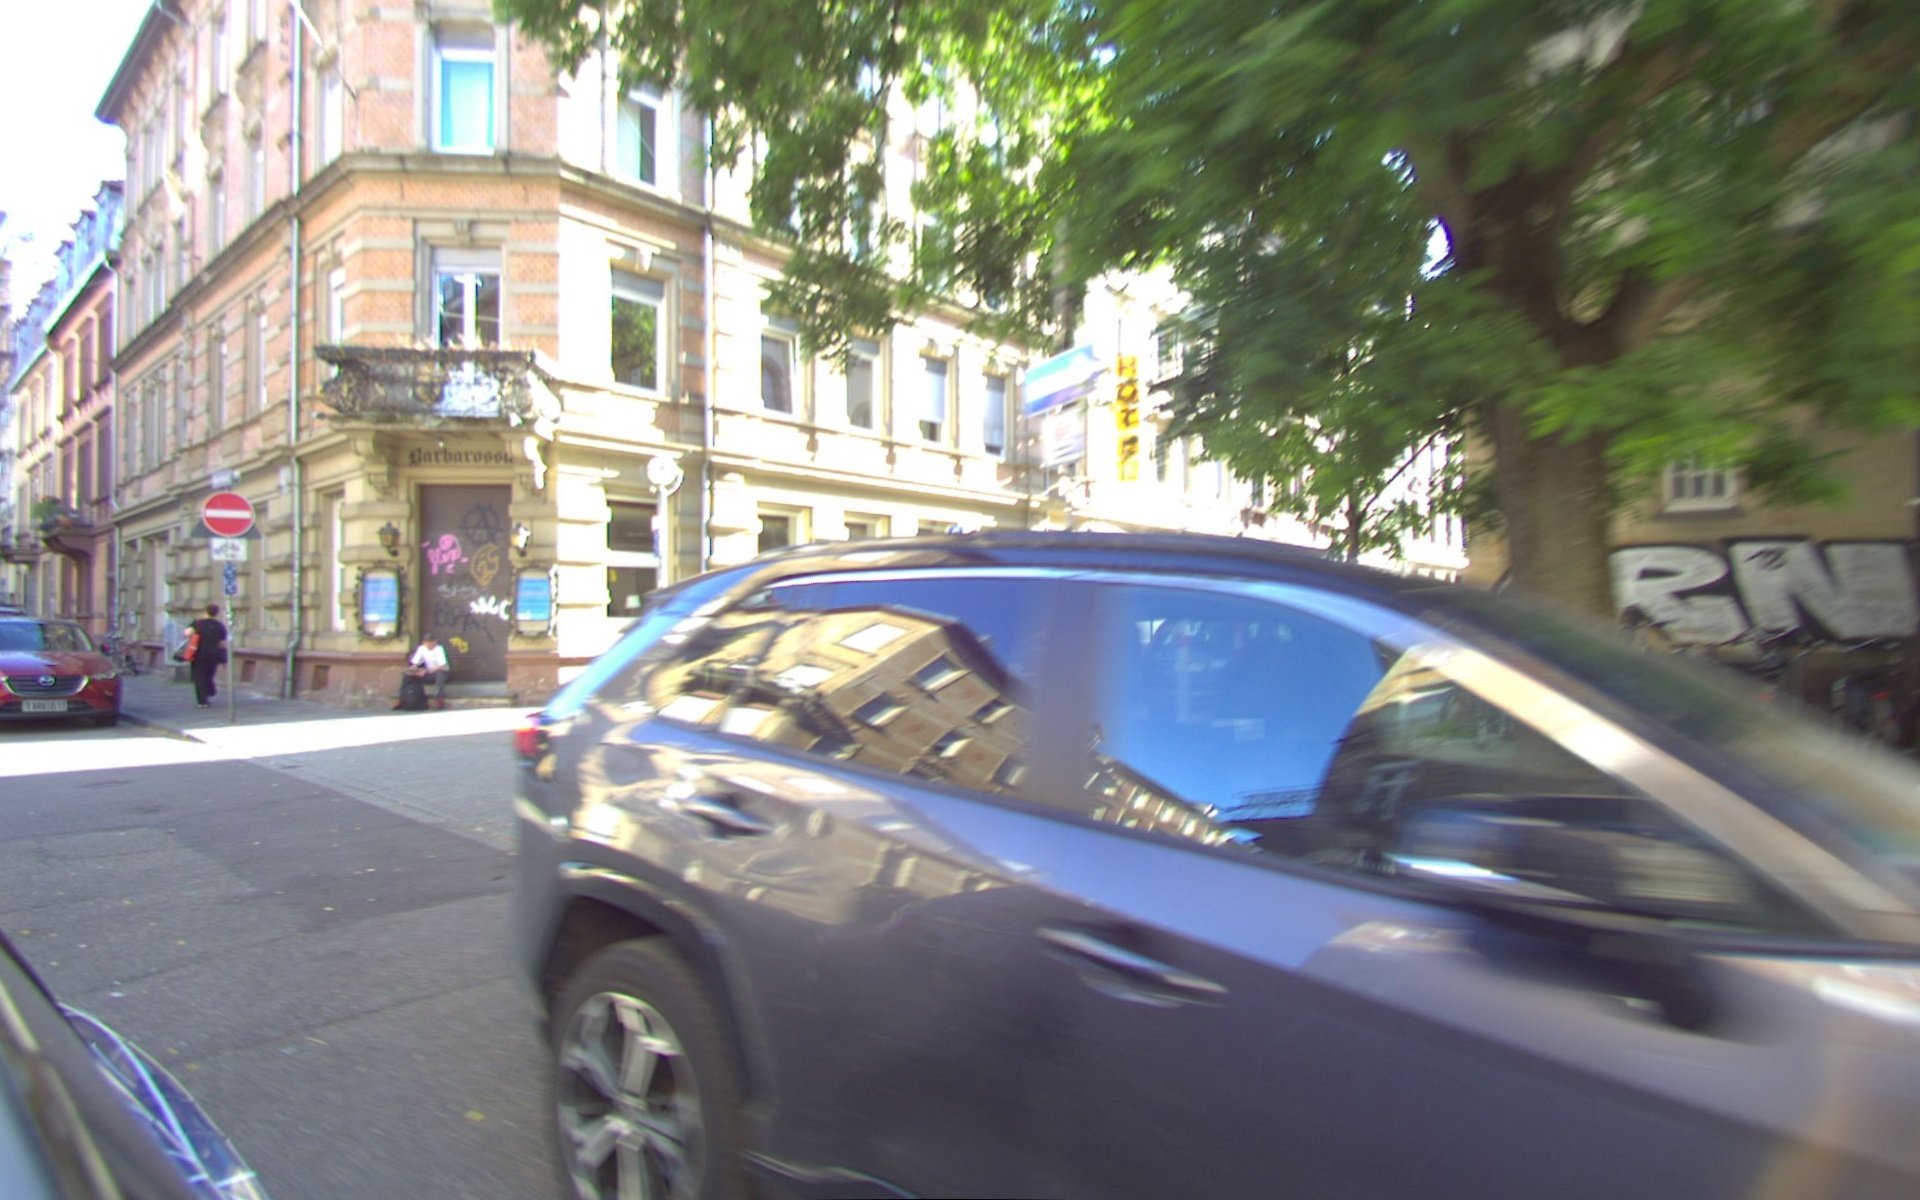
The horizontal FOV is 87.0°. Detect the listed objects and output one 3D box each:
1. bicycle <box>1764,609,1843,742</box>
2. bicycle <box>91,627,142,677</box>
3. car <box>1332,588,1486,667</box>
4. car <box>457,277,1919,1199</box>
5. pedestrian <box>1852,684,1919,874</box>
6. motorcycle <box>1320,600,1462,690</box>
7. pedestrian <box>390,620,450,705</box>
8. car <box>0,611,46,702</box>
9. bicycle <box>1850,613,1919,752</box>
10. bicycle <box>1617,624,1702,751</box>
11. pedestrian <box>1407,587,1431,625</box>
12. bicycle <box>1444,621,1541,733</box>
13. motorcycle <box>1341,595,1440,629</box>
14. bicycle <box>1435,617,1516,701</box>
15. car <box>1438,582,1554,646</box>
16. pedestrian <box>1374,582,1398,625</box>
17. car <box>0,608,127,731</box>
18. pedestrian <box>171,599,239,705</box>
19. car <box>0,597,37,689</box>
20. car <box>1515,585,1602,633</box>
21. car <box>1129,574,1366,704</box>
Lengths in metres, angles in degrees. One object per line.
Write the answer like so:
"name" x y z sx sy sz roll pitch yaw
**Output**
"bicycle" 7.548 0.628 9.059 0.478 1.062 1.757 -2 -1 40
"bicycle" -20.521 1.244 24.611 1.784 1.133 0.660 -2 2 42
"car" 9.272 0.492 20.711 1.794 1.431 4.222 -1 0 40
"car" 0.838 0.546 2.058 4.284 1.659 1.723 -1 -1 39
"pedestrian" 4.500 0.789 4.321 0.697 0.784 0.914 -1 -1 17
"motorcycle" 7.271 0.736 17.140 2.103 1.431 0.653 -1 0 41
"pedestrian" -8.057 0.919 15.131 0.657 1.186 0.750 -2 1 -19
"car" -16.957 0.947 17.137 3.871 1.431 1.657 -1 1 40
"bicycle" 8.011 0.659 8.696 0.478 1.062 1.757 -2 -1 40
"bicycle" 6.710 0.788 9.677 0.478 1.062 1.757 -2 -1 40
"pedestrian" 19.595 0.241 43.173 0.711 1.578 0.714 -1 3 41
"bicycle" 5.724 0.783 10.836 0.533 1.062 1.757 -2 -1 40
"motorcycle" 14.885 0.384 35.144 1.313 1.070 3.067 0 1 -25
"bicycle" 7.273 0.795 14.231 0.533 1.062 2.052 -2 -1 40
"car" 13.561 0.314 25.486 1.730 1.472 4.222 -1 0 40
"pedestrian" 18.215 0.158 43.240 0.711 1.771 0.714 -1 3 41
"car" -13.361 0.917 14.384 4.088 1.492 1.705 -1 1 42
"pedestrian" -11.865 0.795 15.905 0.759 1.592 0.660 -1 1 40
"car" -20.817 0.899 21.081 4.606 1.798 1.873 -1 1 42
"car" 18.964 0.254 31.973 1.730 1.431 4.085 -1 0 40
"car" 4.261 0.492 14.619 1.769 1.610 3.946 -3 -1 40
